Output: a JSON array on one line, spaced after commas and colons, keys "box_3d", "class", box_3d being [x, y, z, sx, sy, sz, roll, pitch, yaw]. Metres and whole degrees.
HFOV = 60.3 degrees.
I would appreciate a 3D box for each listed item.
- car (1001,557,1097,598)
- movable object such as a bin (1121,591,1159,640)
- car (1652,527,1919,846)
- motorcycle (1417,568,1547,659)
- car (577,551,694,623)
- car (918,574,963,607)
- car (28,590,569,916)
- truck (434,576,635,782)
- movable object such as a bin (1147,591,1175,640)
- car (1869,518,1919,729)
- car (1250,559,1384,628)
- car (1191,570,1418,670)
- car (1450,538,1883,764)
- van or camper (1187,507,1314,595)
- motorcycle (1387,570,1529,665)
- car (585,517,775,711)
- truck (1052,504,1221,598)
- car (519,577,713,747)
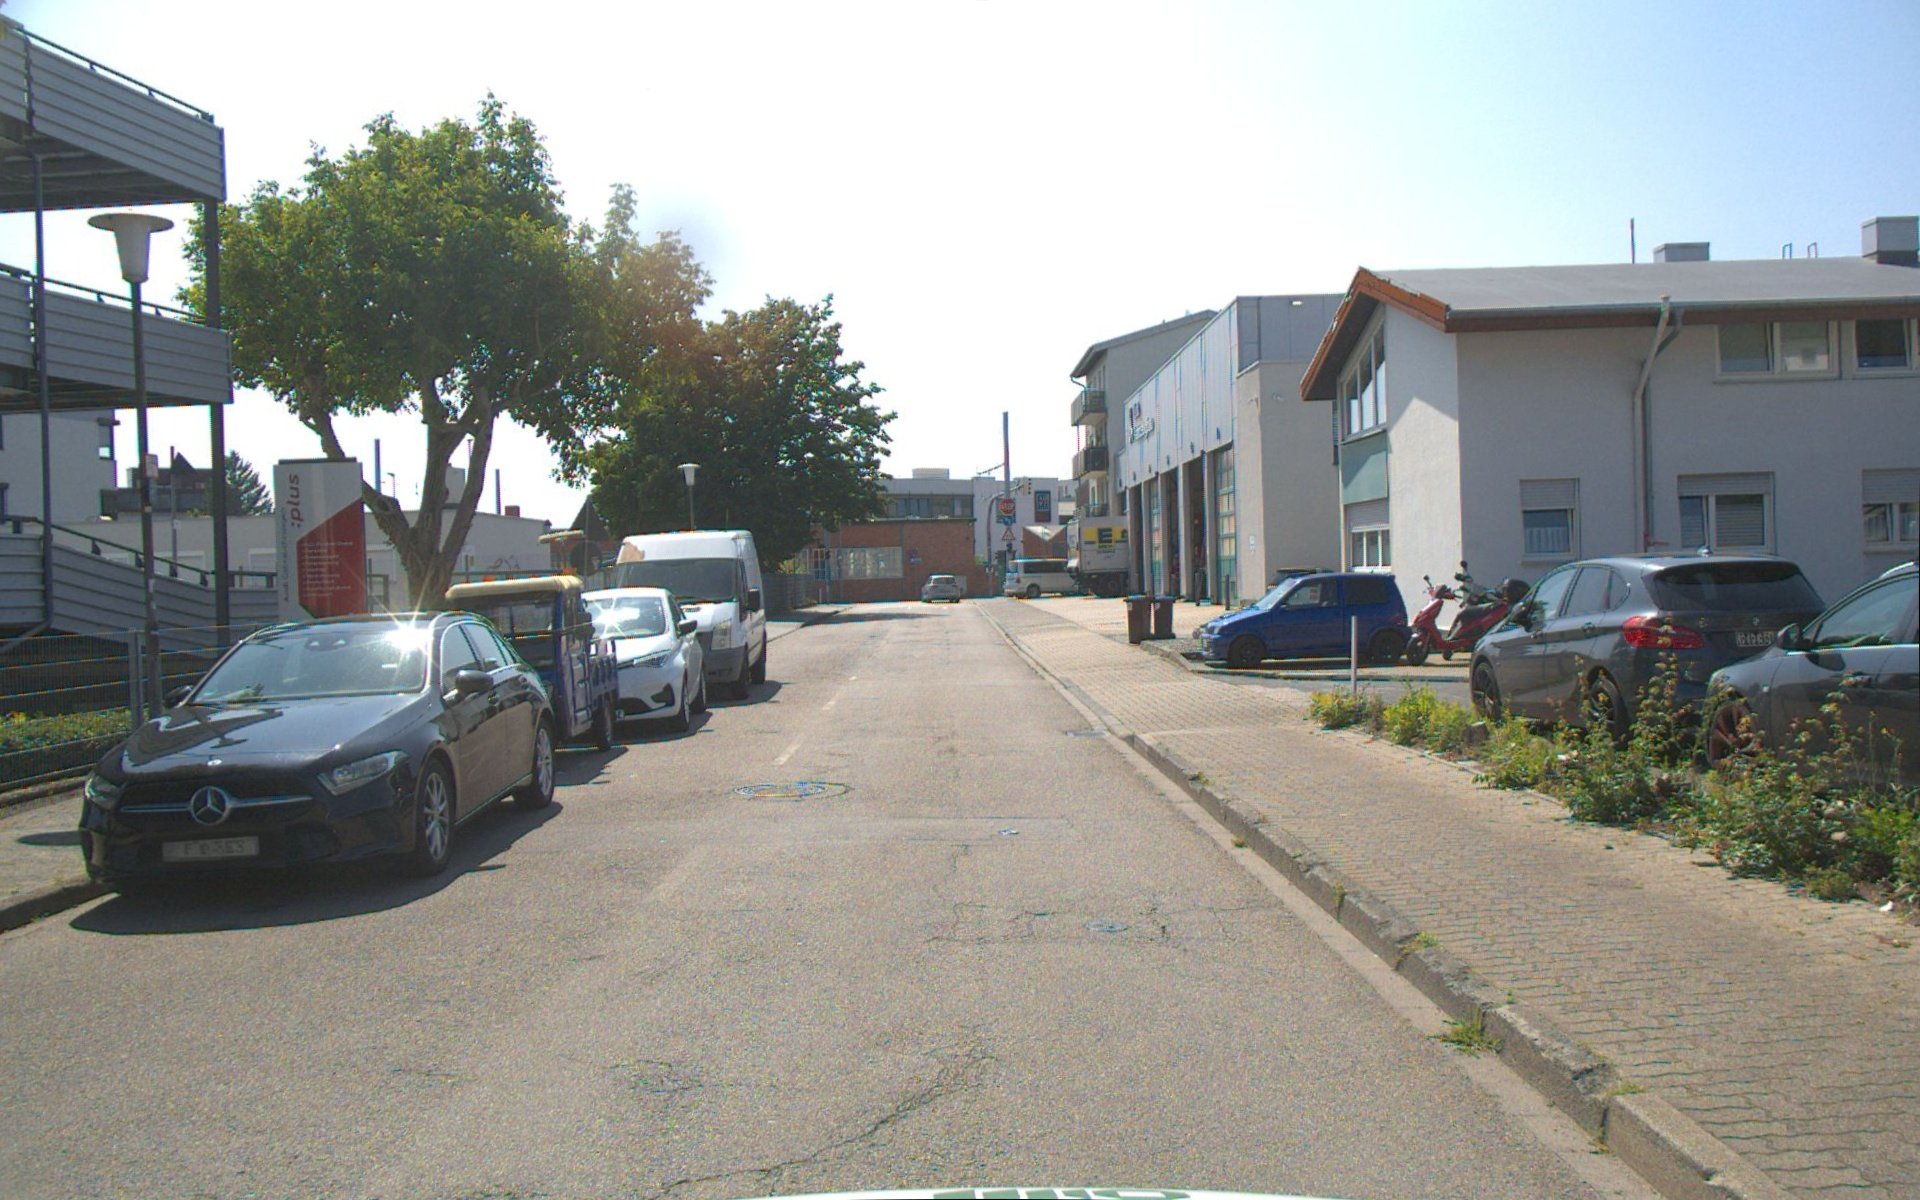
[{"box_3d": [4.600, -1.164, 85.609, 4.585, 1.992, 1.905, -2, 1, -20], "class": "car"}, {"box_3d": [3.664, 0.314, 33.672, 0.557, 0.962, 0.556, -2, 1, 33], "class": "movable object such as a bin"}, {"box_3d": [5.679, 0.398, 8.759, 1.821, 1.595, 4.950, -2, 1, -1], "class": "car"}, {"box_3d": [8.155, 0.200, 25.865, 1.717, 1.301, 0.795, -3, 1, -10], "class": "motorcycle"}, {"box_3d": [-12.106, -0.502, 61.949, 4.004, 2.557, 1.776, -2, 1, -3], "class": "car"}, {"box_3d": [-1.102, -0.508, 90.473, 1.856, 1.714, 3.949, -2, 1, -9], "class": "car"}, {"box_3d": [-3.717, 0.733, 10.140, 1.670, 1.488, 4.113, -3, 1, -1], "class": "car"}, {"box_3d": [-3.869, 0.640, 15.422, 1.116, 1.650, 3.139, -4, 1, -3], "class": "truck"}, {"box_3d": [4.143, 0.320, 34.092, 0.502, 0.962, 0.488, -2, 1, 11], "class": "movable object such as a bin"}, {"box_3d": [8.223, 0.222, 11.662, 1.723, 1.622, 3.620, 2, 1, 2], "class": "car"}, {"box_3d": [9.078, -0.185, 41.906, 1.746, 1.566, 3.683, -2, 1, 40], "class": "car"}, {"box_3d": [5.360, 0.292, 26.030, 3.187, 1.423, 1.673, -2, 1, -1], "class": "car"}, {"box_3d": [5.798, 0.341, 14.226, 1.775, 1.585, 4.292, -2, 1, -1], "class": "car"}, {"box_3d": [11.672, -1.970, 66.617, 4.662, 3.345, 1.998, -2, 1, -4], "class": "van or camper"}, {"box_3d": [7.471, 0.256, 24.850, 1.832, 1.301, 0.796, -3, 1, -4], "class": "motorcycle"}, {"box_3d": [-3.947, 0.145, 24.205, 1.965, 2.407, 5.227, -3, 1, -3], "class": "car"}, {"box_3d": [8.189, -2.283, 77.335, 7.221, 3.708, 2.764, -5, 1, -7], "class": "truck"}, {"box_3d": [-3.837, 0.623, 19.032, 1.672, 1.652, 3.969, -3, 1, -5], "class": "car"}]
